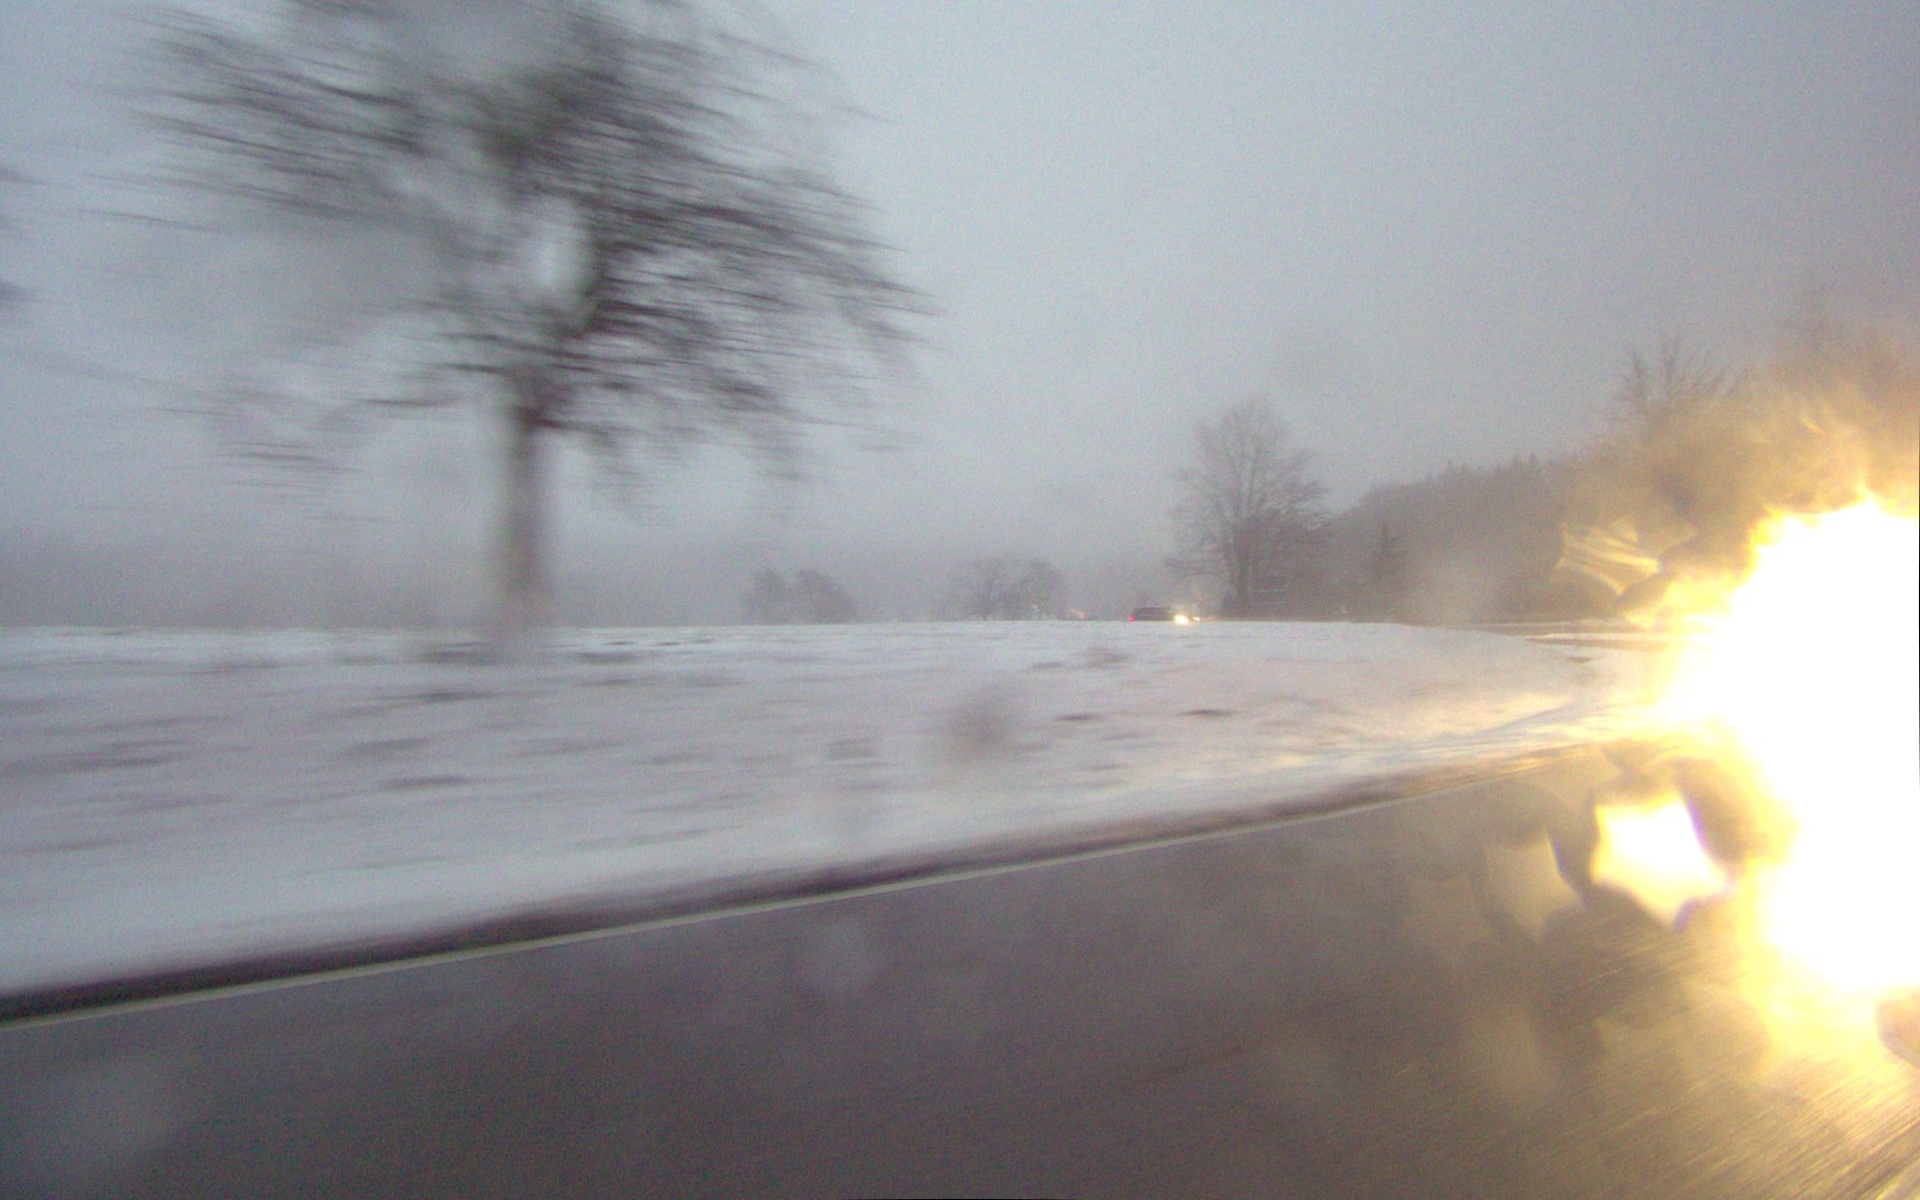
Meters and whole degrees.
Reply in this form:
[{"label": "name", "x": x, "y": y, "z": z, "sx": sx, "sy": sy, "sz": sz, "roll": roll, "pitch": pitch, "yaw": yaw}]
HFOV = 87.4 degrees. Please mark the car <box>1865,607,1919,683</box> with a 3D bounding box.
[{"label": "car", "x": 20.444, "y": 0.908, "z": 21.346, "sx": 1.723, "sy": 1.506, "sz": 3.981, "roll": -2, "pitch": -1, "yaw": 43}]
